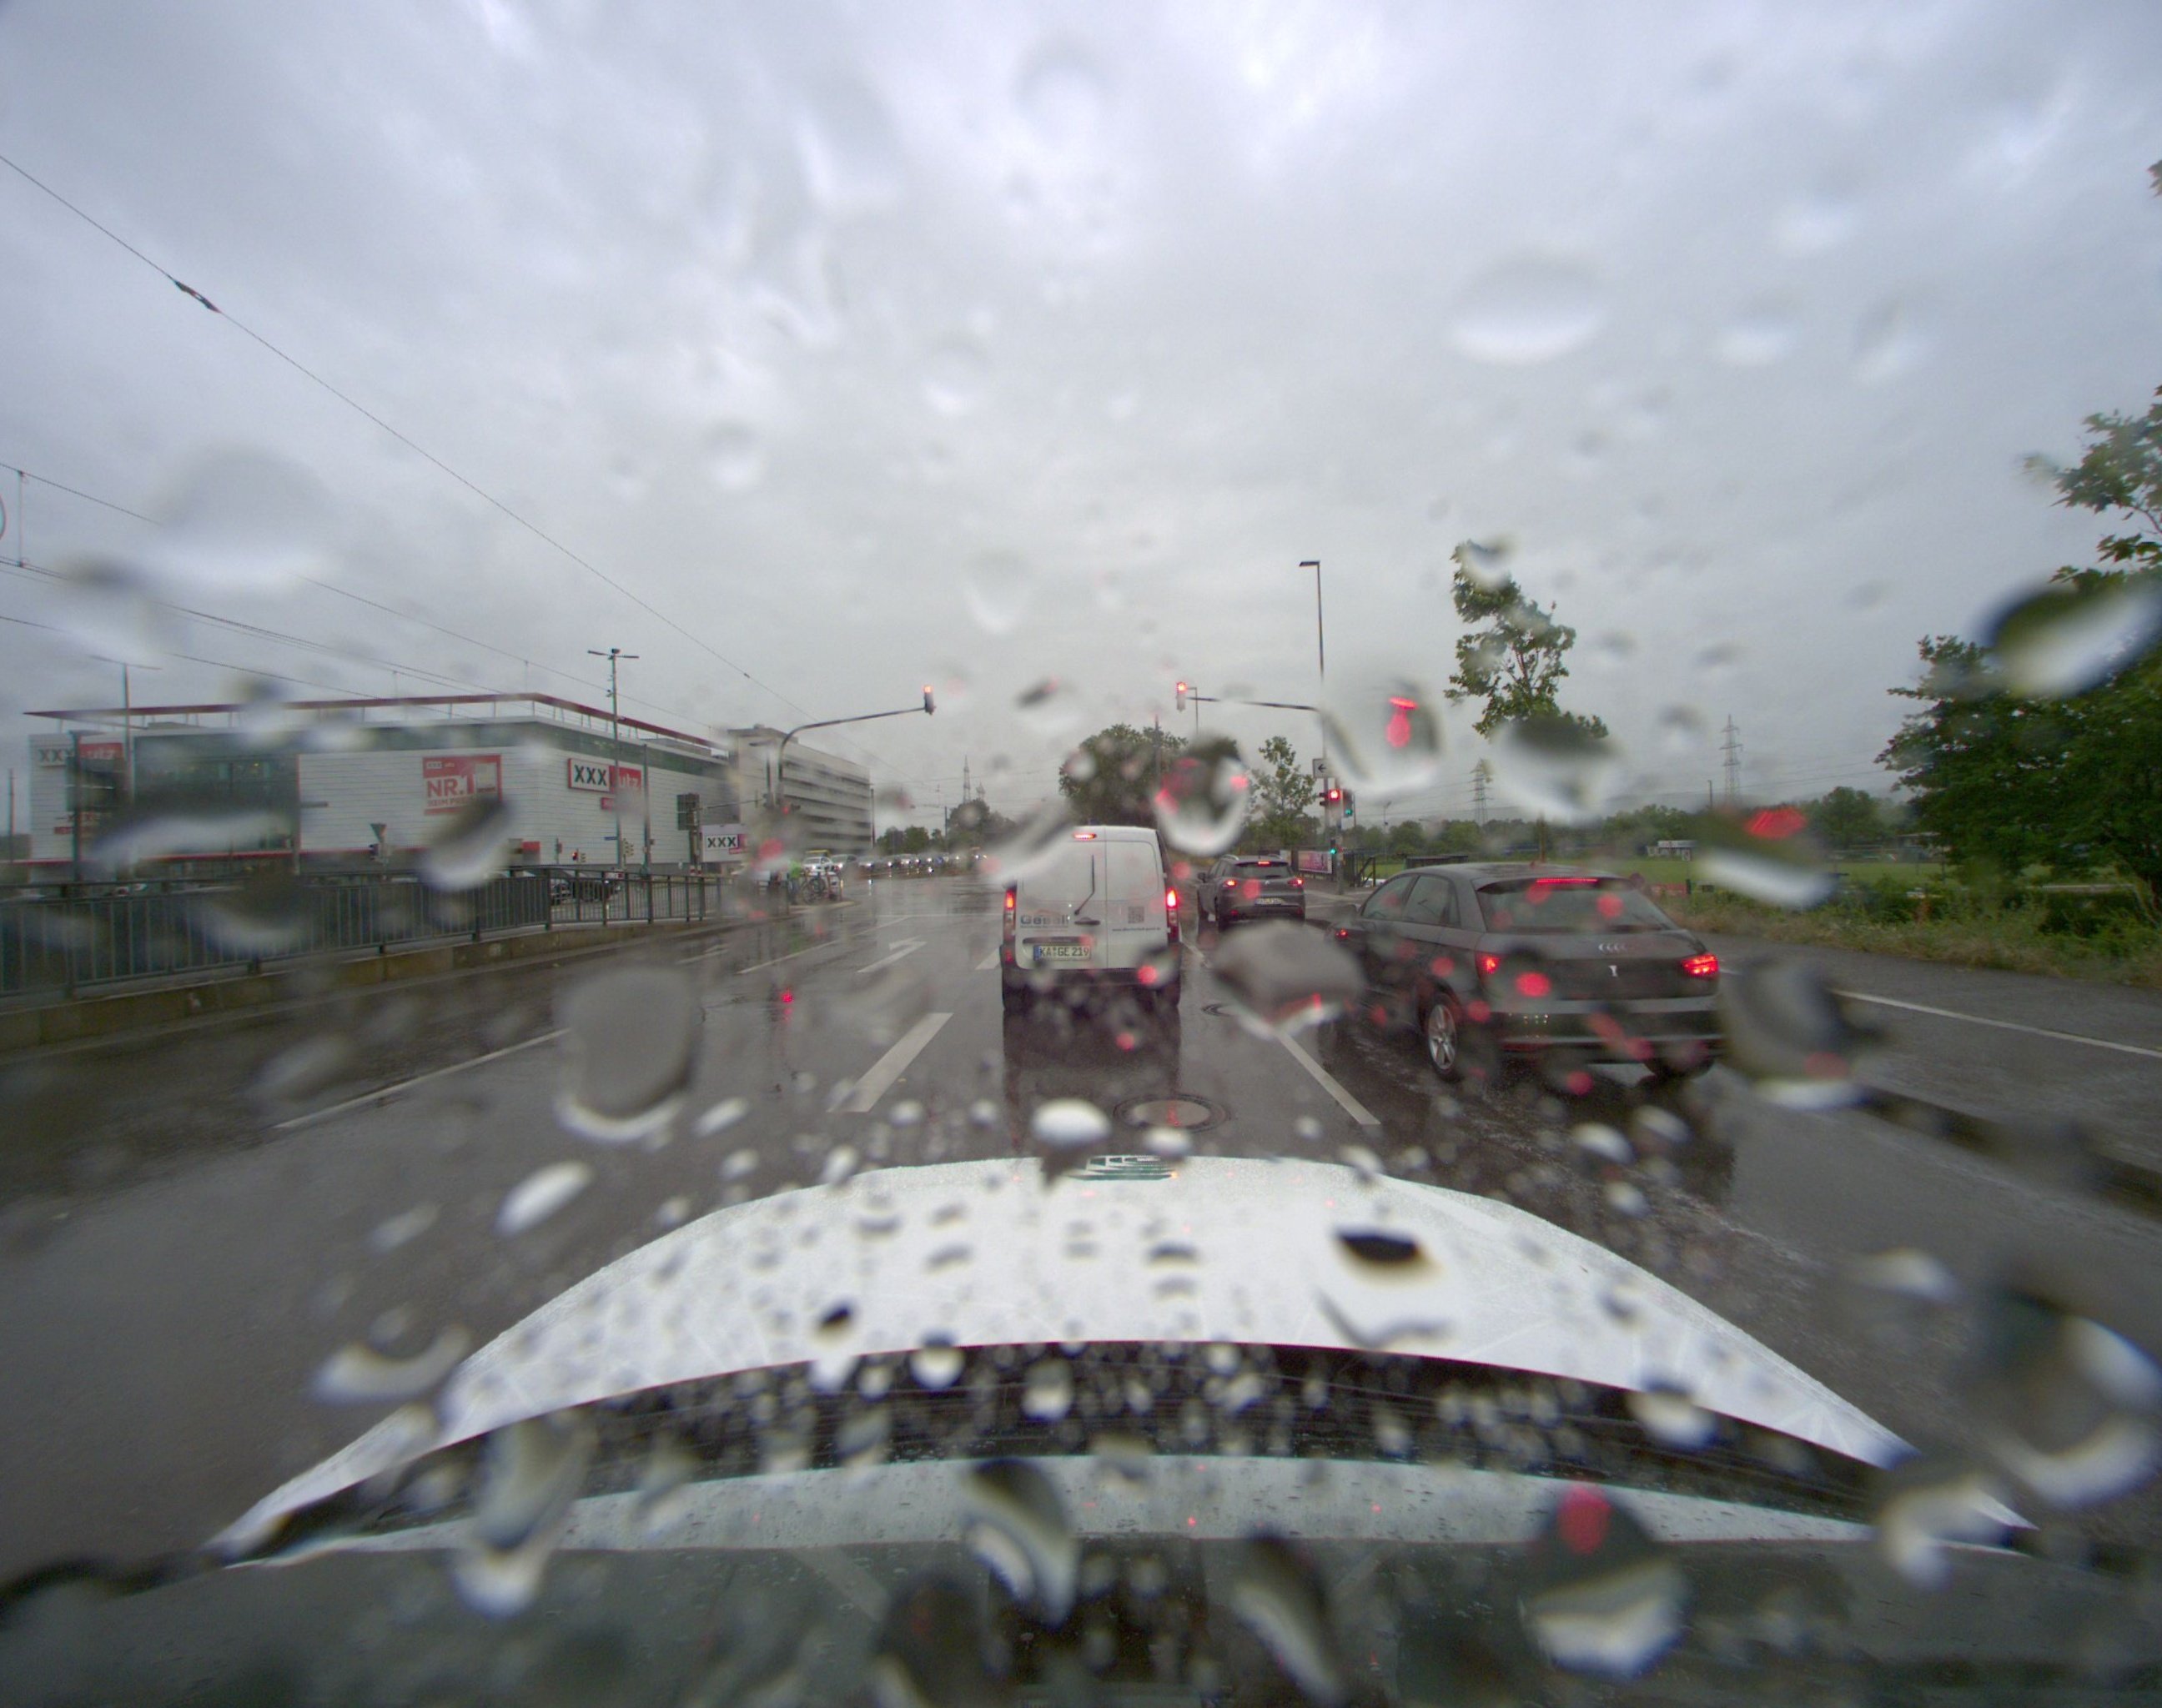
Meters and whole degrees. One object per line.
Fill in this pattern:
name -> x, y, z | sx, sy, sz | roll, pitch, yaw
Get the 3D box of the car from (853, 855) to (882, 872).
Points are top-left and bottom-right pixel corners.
car -> -18.987, 0.835, 72.607 | 1.554, 1.426, 3.570 | 1, -1, 2

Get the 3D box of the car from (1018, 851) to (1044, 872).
car -> -4.097, 0.660, 67.069 | 1.942, 1.662, 4.461 | 1, -1, -1

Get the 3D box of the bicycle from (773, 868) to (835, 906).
bicycle -> -8.657, 1.005, 25.519 | 1.768, 1.137, 0.514 | 0, -1, -41

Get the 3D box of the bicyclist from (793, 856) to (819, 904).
bicyclist -> -8.631, 0.802, 25.533 | 0.608, 1.491, 0.593 | 0, -1, -39

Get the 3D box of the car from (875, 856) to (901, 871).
car -> -18.814, 0.934, 79.688 | 1.554, 1.426, 3.570 | 1, -1, 2

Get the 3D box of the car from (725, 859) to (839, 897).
car -> -12.317, 1.001, 33.828 | 4.269, 1.502, 1.811 | 1, -1, -17

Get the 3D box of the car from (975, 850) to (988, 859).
car -> -16.975, 0.056, 138.824 | 1.554, 1.426, 3.570 | 1, -1, 2

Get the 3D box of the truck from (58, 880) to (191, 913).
truck -> -60.145, 2.683, 51.281 | 5.859, 1.942, 2.012 | 1, -1, 0

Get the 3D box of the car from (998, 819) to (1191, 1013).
car -> 0.073, 0.540, 9.520 | 1.749, 1.750, 4.166 | -1, 1, -2

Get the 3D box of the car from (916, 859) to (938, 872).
car -> -17.657, 1.297, 93.467 | 1.704, 1.426, 3.810 | 1, -1, 2

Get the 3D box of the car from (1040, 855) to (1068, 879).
car -> -1.756, 0.856, 52.678 | 1.708, 1.451, 4.194 | 1, -1, -3

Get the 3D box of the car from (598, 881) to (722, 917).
car -> -18.455, 1.974, 35.877 | 4.500, 1.502, 1.706 | 1, -1, -14

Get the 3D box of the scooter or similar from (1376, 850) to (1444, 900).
scooter or similar -> 8.581, 0.505, 21.418 | 0.687, 1.211, 3.022 | -2, 0, 3

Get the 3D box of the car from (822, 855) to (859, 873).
car -> -19.273, 0.821, 65.373 | 1.704, 1.426, 3.810 | 1, -1, 2

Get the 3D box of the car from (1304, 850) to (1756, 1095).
car -> 3.108, 0.693, 6.551 | 1.592, 1.366, 3.630 | -2, 0, 0

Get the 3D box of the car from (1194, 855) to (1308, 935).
car -> 3.474, 0.787, 17.293 | 1.678, 1.508, 3.921 | 0, 0, 1

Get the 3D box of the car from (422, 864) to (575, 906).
car -> -22.283, 1.164, 31.264 | 4.485, 1.502, 1.712 | 1, -1, -4

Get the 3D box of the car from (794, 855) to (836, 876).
car -> -19.370, 0.852, 59.465 | 1.704, 1.426, 3.810 | 1, -1, 2

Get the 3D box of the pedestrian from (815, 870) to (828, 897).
pedestrian -> -8.768, 1.000, 27.527 | 0.314, 0.897, 0.380 | 1, 0, -1

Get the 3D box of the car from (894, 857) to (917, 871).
car -> -18.546, 1.079, 86.172 | 1.554, 1.426, 3.570 | 1, -1, 2
